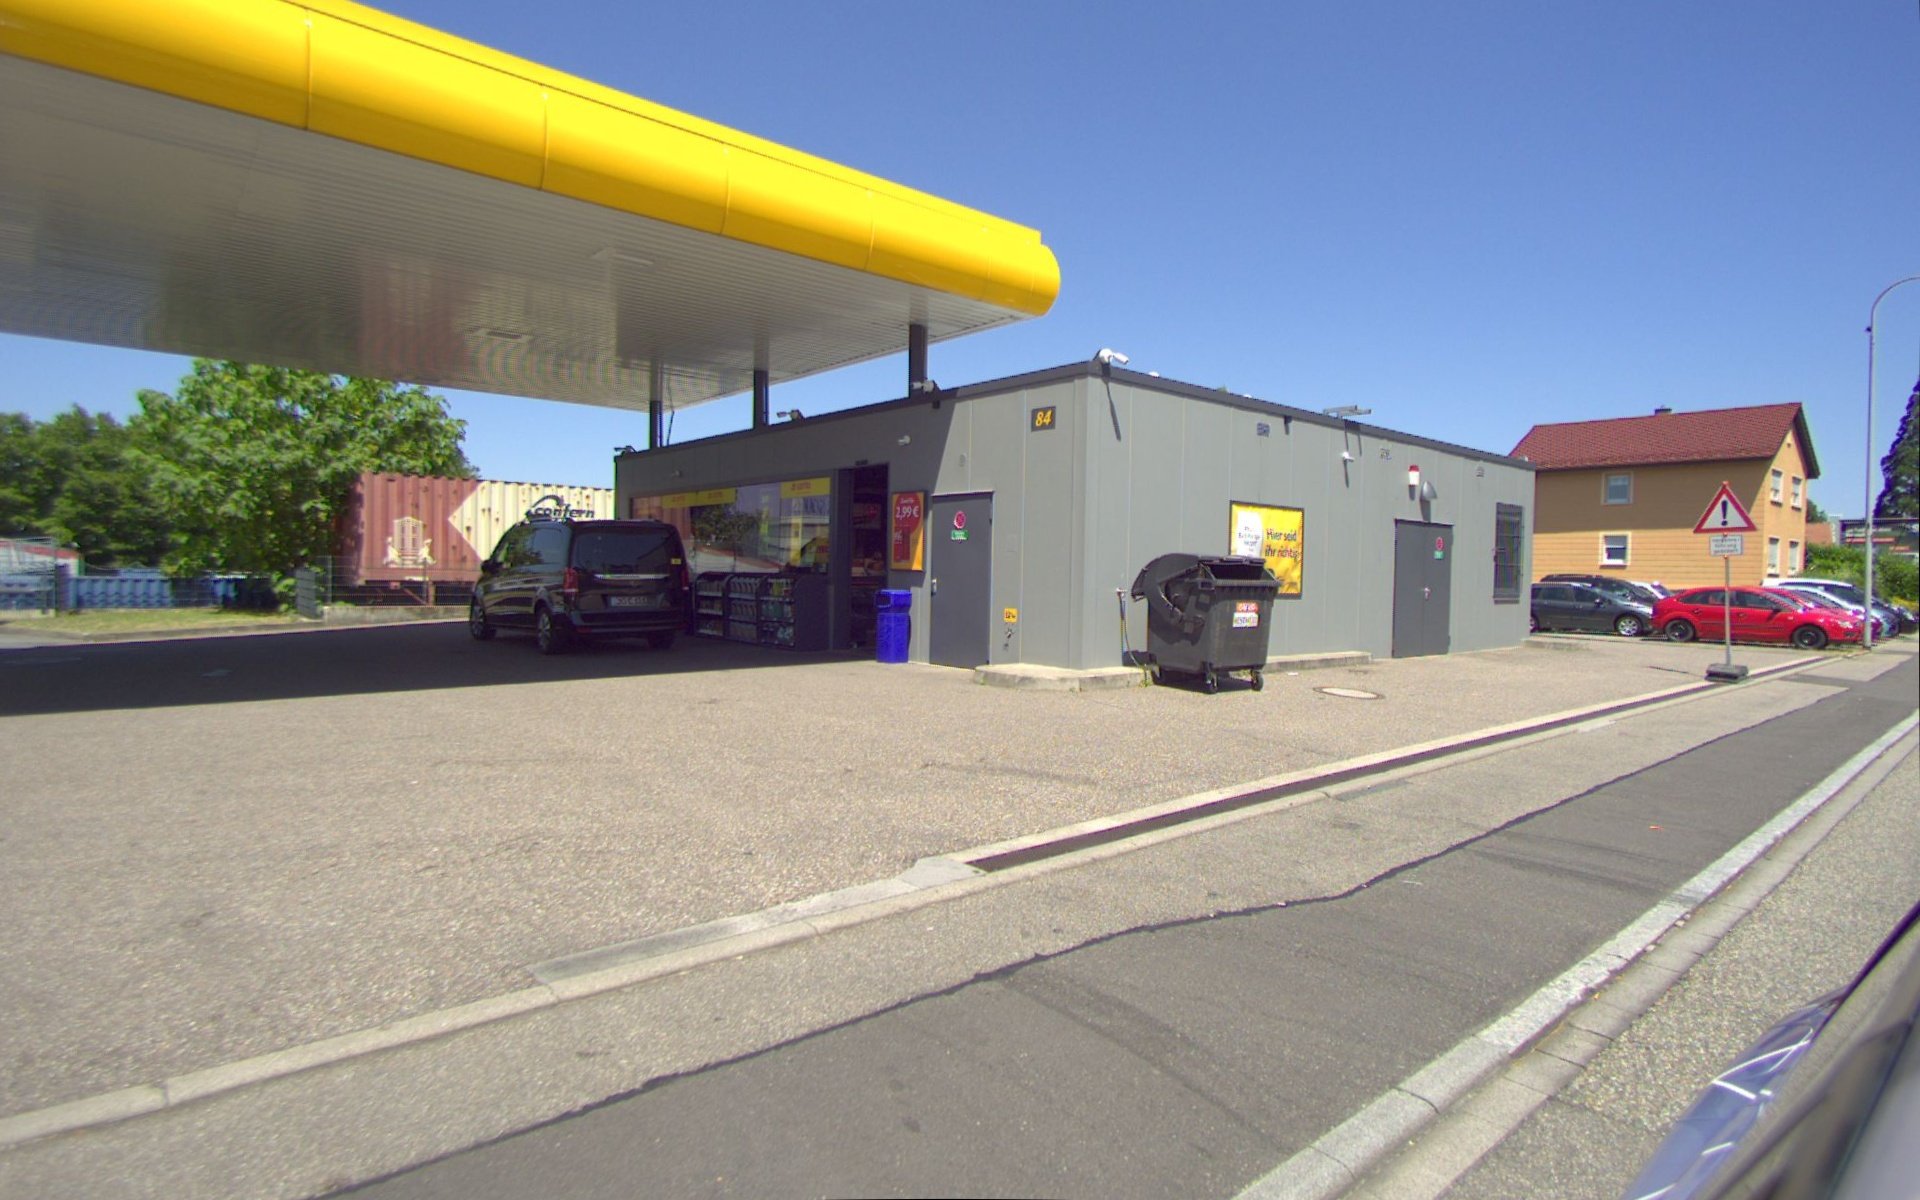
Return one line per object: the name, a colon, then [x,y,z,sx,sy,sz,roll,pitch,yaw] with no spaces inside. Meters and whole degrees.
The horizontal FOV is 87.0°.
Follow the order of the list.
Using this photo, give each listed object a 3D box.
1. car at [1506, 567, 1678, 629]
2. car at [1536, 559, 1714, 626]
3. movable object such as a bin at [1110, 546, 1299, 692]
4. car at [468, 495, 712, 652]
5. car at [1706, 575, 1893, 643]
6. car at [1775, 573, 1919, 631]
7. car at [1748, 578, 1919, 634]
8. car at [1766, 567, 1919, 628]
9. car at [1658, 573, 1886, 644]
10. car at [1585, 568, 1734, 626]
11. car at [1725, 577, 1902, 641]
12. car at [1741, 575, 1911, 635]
car: [18.922,-0.025,30.433,1.752,1.689,4.044,0,-1,-42]
car: [20.869,-0.192,31.888,1.939,1.921,4.342,0,-2,-44]
movable object such as a bin: [2.712,0.158,11.250,1.442,1.455,1.437,0,3,-41]
car: [-5.839,-0.399,15.519,1.964,2.000,5.061,0,1,-39]
car: [22.459,0.189,27.150,1.680,1.586,3.687,0,2,-44]
car: [29.092,0.040,32.886,1.734,1.701,3.879,0,2,-44]
car: [27.227,0.138,31.641,1.801,1.528,3.800,0,2,-41]
car: [30.301,-0.125,34.629,4.134,1.962,1.780,2,1,43]
car: [20.509,0.152,25.695,1.925,1.553,4.231,0,2,-42]
car: [24.153,-0.063,35.037,1.659,1.862,3.900,0,-1,-40]
car: [24.134,0.200,28.679,1.721,1.586,3.687,0,2,-45]
car: [25.773,0.110,30.191,1.614,1.586,3.689,0,2,-43]
